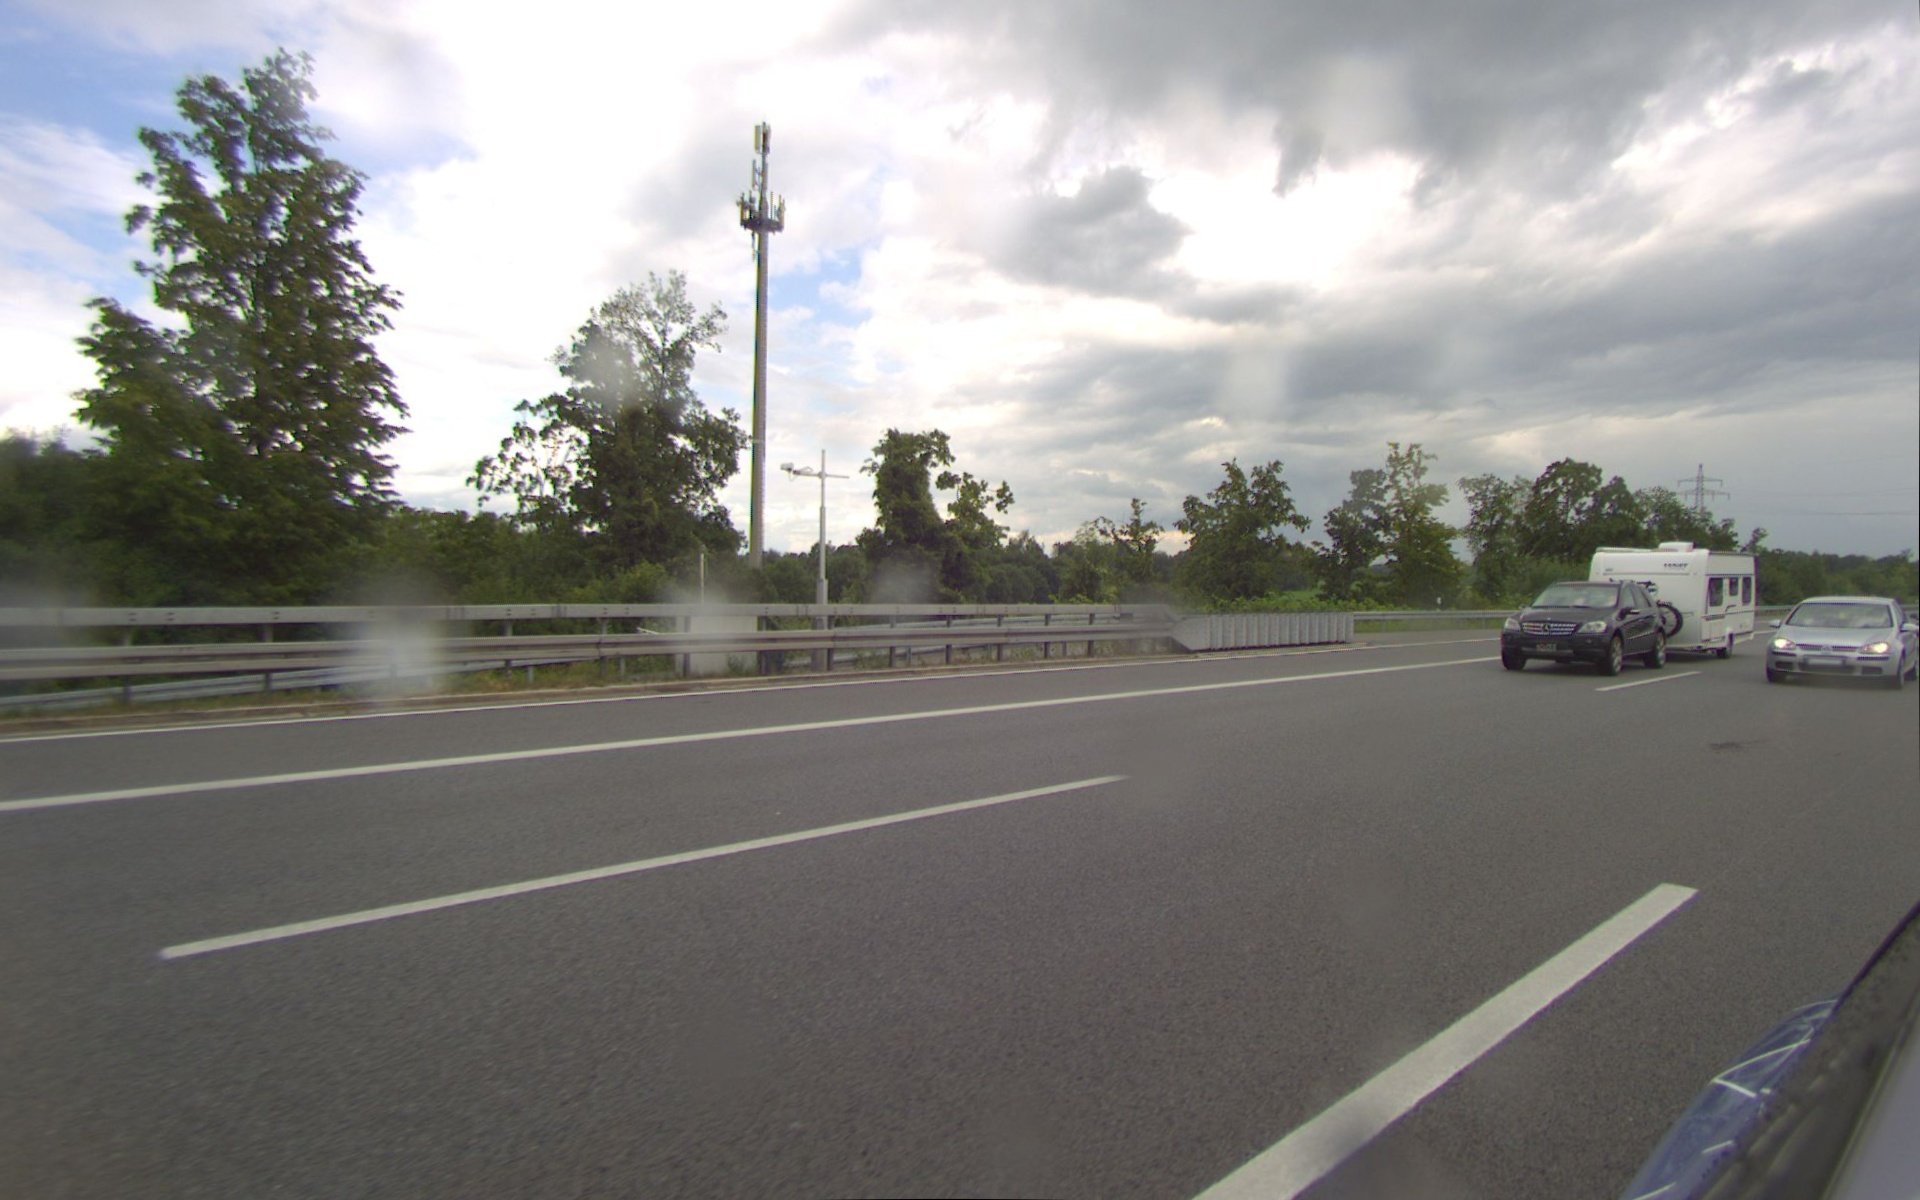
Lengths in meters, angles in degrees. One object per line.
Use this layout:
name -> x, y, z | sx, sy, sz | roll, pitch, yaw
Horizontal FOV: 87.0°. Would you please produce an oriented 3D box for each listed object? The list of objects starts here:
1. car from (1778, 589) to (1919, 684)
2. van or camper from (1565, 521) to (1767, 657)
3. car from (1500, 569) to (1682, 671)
car -> 15.750, 0.560, 17.669 | 3.931, 1.464, 1.681 | 0, 1, -42
van or camper -> 16.806, -0.237, 23.885 | 7.085, 2.773, 2.387 | 0, 0, -42
car -> 12.525, 0.327, 19.978 | 4.425, 1.798, 1.923 | 0, 1, -42
